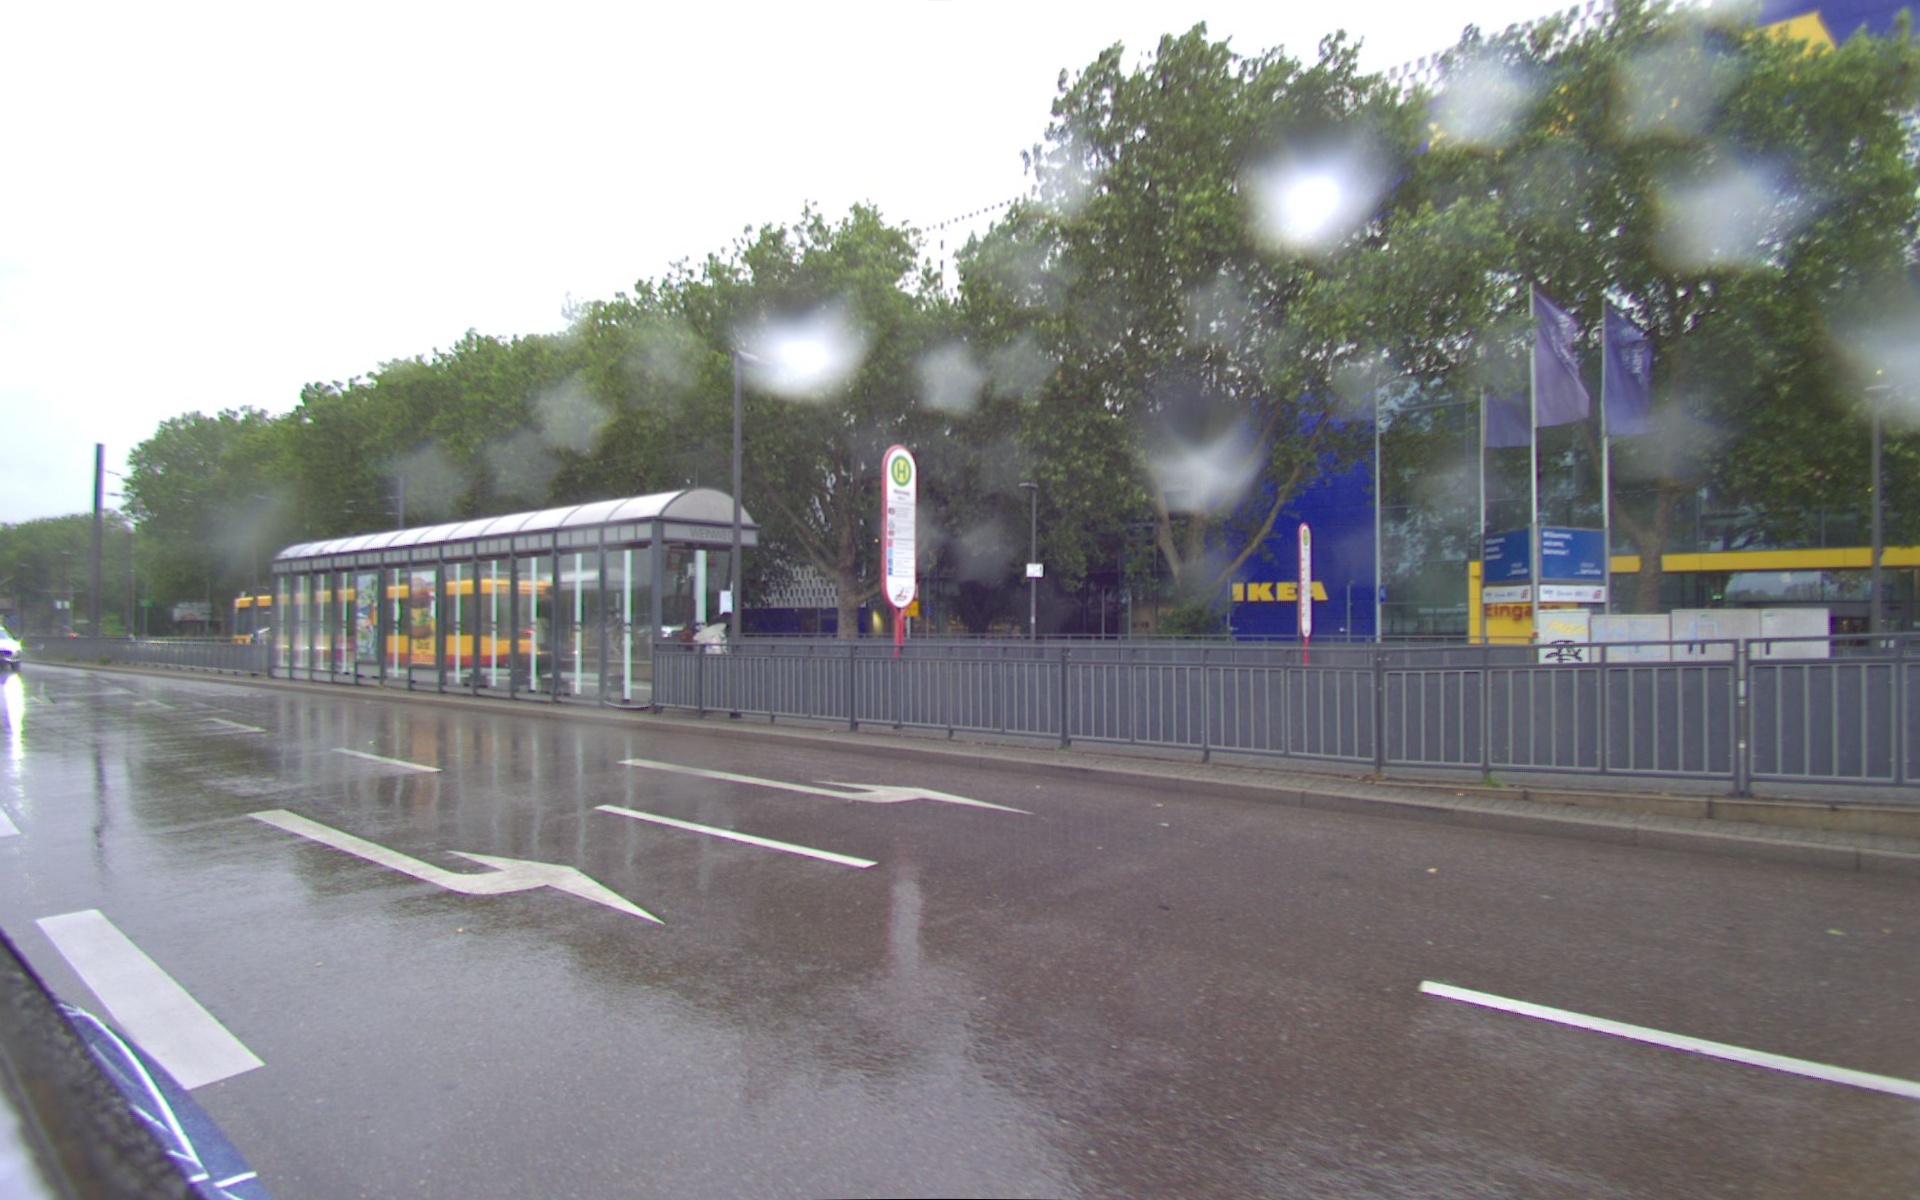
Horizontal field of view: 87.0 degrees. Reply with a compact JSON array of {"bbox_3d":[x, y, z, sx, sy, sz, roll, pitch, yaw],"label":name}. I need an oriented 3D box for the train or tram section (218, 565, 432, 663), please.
[{"bbox_3d":[-29.185,0.617,45.896,15.560,3.827,3.703,-1,0,40],"label":"train or tram section"}]

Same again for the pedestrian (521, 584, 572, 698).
[{"bbox_3d":[-7.107,0.686,17.403,0.646,1.885,0.774,-1,0,-33],"label":"pedestrian"}]

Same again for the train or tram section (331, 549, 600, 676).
[{"bbox_3d":[-18.227,0.427,36.528,13.245,3.868,3.703,-1,0,40],"label":"train or tram section"}]

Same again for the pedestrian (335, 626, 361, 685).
[{"bbox_3d":[-13.312,1.192,22.005,0.451,1.245,0.468,0,0,-35],"label":"pedestrian"}]

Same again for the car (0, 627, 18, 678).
[{"bbox_3d":[-36.871,1.962,37.854,4.661,1.788,1.910,-1,0,41],"label":"car"}]

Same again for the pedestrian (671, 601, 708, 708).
[{"bbox_3d":[-3.897,0.767,14.570,0.317,1.504,0.416,-2,1,-44],"label":"pedestrian"}]

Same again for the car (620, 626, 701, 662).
[{"bbox_3d":[-13.102,1.902,44.256,3.421,1.475,1.567,-1,0,35],"label":"car"}]
